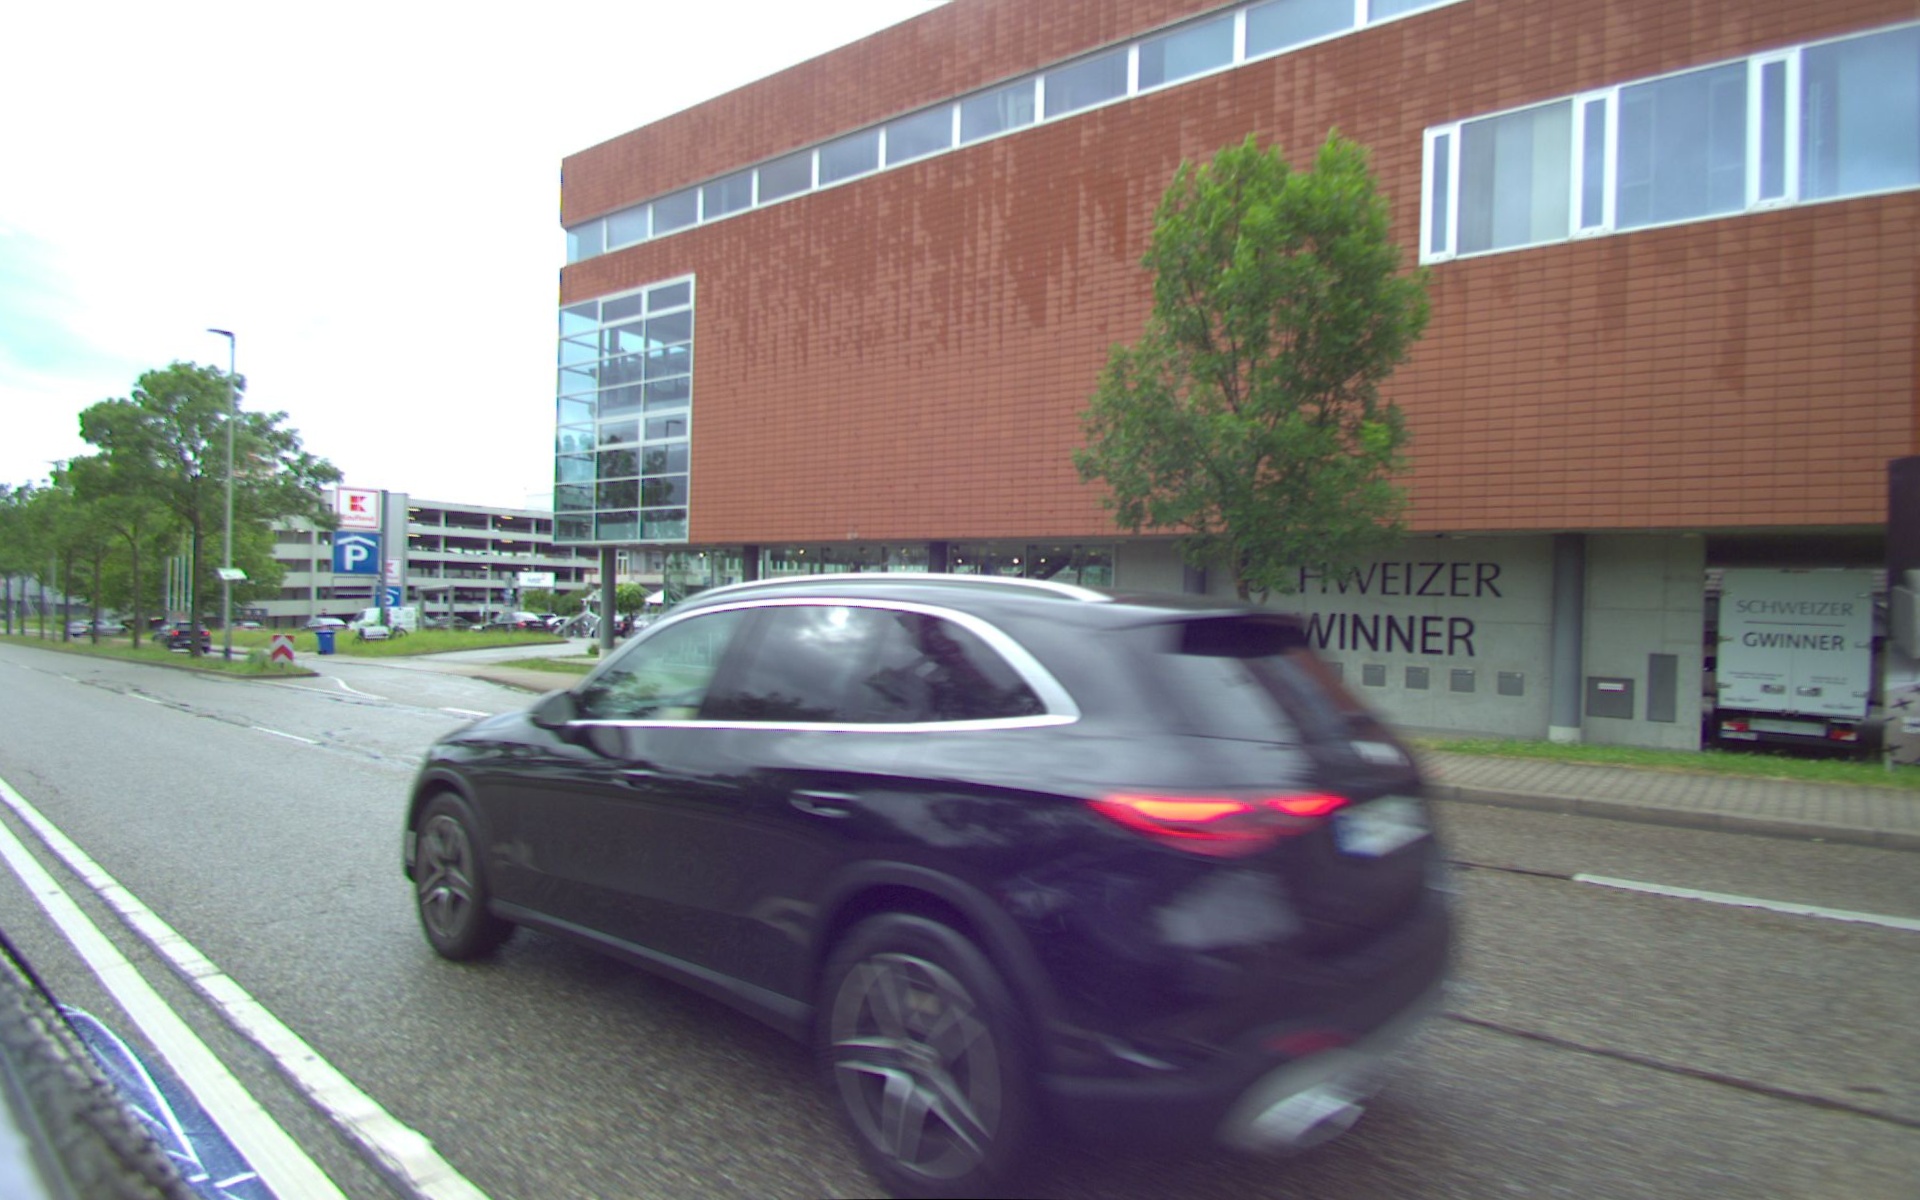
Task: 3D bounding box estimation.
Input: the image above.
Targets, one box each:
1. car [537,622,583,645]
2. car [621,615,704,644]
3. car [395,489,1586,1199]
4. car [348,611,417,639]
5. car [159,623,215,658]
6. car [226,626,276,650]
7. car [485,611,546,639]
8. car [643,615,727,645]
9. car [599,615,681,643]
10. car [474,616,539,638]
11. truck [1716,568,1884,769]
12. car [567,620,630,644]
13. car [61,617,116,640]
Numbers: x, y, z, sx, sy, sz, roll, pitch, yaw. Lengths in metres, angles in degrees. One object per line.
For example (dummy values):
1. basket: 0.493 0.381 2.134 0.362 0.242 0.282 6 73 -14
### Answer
1. car: -25.406 2.122 64.201 3.497 1.433 1.419 -1 -2 44
2. car: -17.206 1.715 58.686 1.832 1.630 4.382 -1 -2 38
3. car: -0.296 0.679 3.849 4.318 1.589 1.839 -1 -3 41
4. car: -34.368 1.500 60.183 4.427 1.630 1.813 -1 -2 34
5. car: -38.743 1.979 50.679 1.807 1.630 4.003 -1 0 -44
6. car: -50.369 2.700 71.879 4.058 1.630 1.810 -1 -2 38
7. car: -22.133 1.212 50.362 3.448 1.293 1.490 0 0 41
8. car: -15.511 1.688 57.309 1.832 1.630 4.382 -1 -2 38
9. car: -18.959 1.722 60.144 1.832 1.630 4.382 -1 -2 38
10. car: -33.926 2.024 75.784 1.833 1.630 4.008 -1 -2 40
11. truck: 16.249 1.213 19.886 2.019 3.333 6.081 0 -2 35
12. car: -25.030 2.205 70.235 1.677 1.611 3.955 -1 -2 33
13. car: -74.085 2.439 86.129 1.820 1.864 4.009 0 -2 -12
